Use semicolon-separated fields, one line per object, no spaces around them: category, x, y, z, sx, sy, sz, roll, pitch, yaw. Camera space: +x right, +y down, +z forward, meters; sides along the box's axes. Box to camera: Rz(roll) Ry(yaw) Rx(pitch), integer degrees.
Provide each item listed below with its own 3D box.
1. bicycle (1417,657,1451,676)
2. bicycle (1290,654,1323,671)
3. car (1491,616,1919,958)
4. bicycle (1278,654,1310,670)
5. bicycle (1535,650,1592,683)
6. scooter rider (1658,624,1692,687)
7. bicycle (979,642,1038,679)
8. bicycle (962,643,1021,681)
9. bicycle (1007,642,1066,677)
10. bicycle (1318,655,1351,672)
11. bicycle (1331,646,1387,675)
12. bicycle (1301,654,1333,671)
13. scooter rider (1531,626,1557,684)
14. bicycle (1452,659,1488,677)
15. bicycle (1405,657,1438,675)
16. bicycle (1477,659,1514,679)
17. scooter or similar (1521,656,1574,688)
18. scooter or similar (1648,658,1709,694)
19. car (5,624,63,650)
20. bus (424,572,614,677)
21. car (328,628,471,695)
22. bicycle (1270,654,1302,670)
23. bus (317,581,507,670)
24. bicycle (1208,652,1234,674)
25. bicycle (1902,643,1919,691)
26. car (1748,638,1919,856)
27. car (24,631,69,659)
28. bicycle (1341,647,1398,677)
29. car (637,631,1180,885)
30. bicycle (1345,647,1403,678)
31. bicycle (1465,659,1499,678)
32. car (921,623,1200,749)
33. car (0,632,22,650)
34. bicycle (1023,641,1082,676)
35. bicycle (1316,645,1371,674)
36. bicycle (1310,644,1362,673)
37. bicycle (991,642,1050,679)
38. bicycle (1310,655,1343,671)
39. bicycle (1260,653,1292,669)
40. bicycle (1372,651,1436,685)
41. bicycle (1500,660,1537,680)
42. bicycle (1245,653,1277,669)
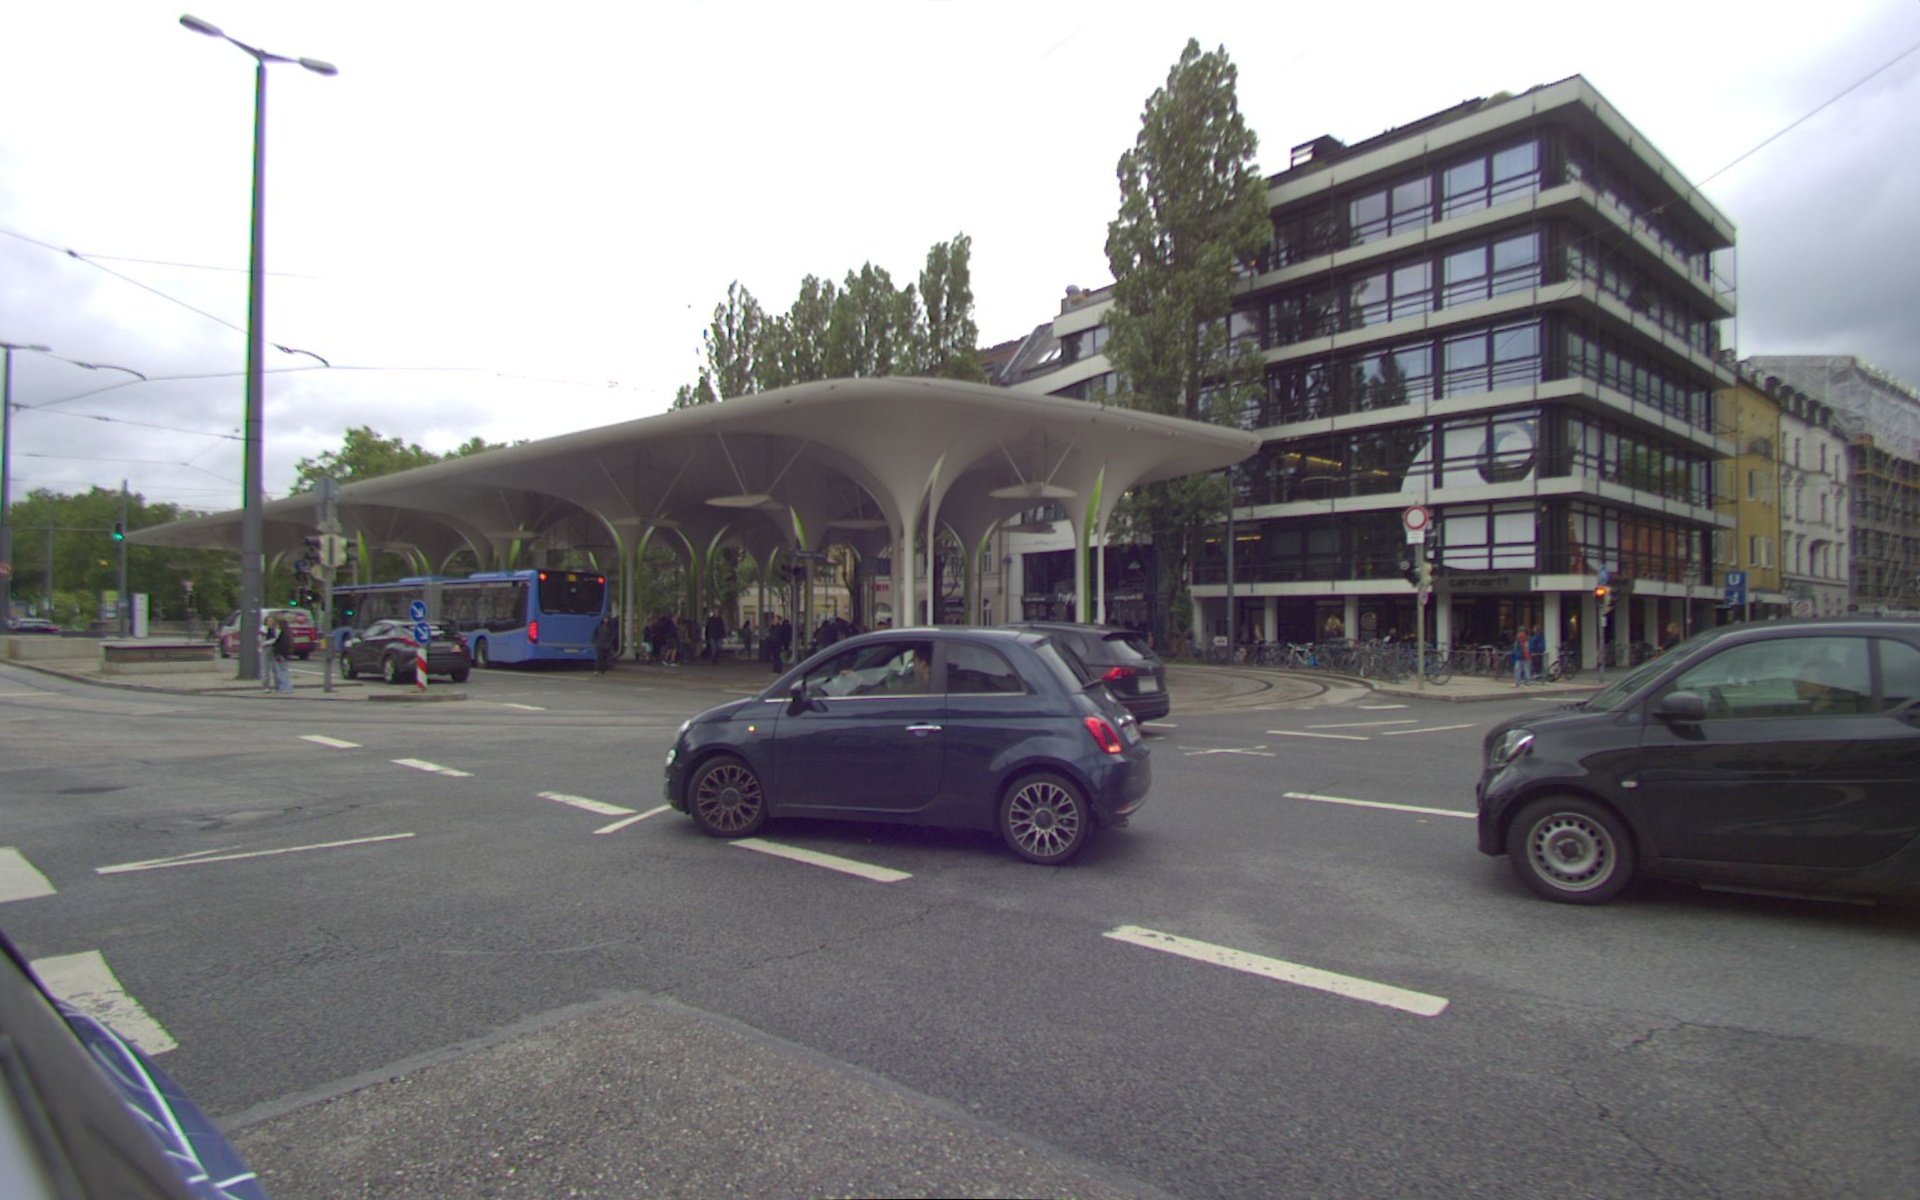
bicycle;17.586;2.466;37.556;1.607;0.637;0.364;1;-2;-34
bicycle;14.212;2.555;41.503;1.607;0.637;0.364;1;-2;-34
car;4.503;0.886;5.399;2.828;1.546;1.491;-2;-3;33
bicycle;13.861;2.564;41.961;1.607;0.637;0.364;1;-2;-34
bicycle;20.072;2.218;33.657;1.612;1.082;0.429;0;-2;0
scooter rider;21.263;1.648;30.115;0.610;1.849;0.668;2;-3;-41
bicycle;1.544;1.939;32.650;0.633;1.133;2.169;1;-2;-39
bicycle;0.982;1.955;32.271;0.633;1.133;2.169;1;-2;-39
bicycle;2.507;1.948;33.512;0.645;1.127;2.186;1;-2;-39
bicycle;15.060;2.533;40.652;1.607;0.637;0.364;1;-2;-34
bicycle;13.354;2.022;33.909;1.705;0.946;0.455;1;-1;-5
bicycle;14.569;2.546;41.262;1.607;0.637;0.364;1;-2;-34
scooter rider;18.905;1.757;32.744;0.609;1.853;0.548;-2;-3;40
bicycle;18.391;2.445;36.499;1.607;0.637;0.430;1;-2;-34
bicycle;17.279;2.474;37.874;1.607;0.637;0.364;1;-2;-34
bicycle;18.910;2.431;35.742;1.607;0.637;0.430;1;-2;-34
scooter or similar;18.952;2.304;32.657;1.403;0.989;0.409;-2;-2;40
scooter or similar;21.306;2.241;30.019;0.408;0.989;1.406;2;-3;-41
car;-51.377;2.029;56.154;4.031;1.427;1.824;-1;-2;40
bus;-14.456;0.852;32.883;7.509;3.031;2.632;-2;-4;41
car;-13.908;1.477;25.025;4.278;1.520;1.647;-1;-3;40
bicycle;13.624;2.571;42.261;1.607;0.637;0.364;1;-2;-34
bus;-21.238;1.046;38.792;10.506;3.031;2.633;-1;-4;40
bicycle;11.820;2.847;45.756;0.449;0.933;1.804;-2;-2;39
bicycle;23.199;1.595;23.512;1.893;1.119;0.578;1;-1;42
car;7.845;0.982;6.637;4.163;1.422;1.974;-2;-4;39
car;-62.429;3.028;69.151;3.868;1.854;1.885;-2;-2;43
bicycle;13.434;2.020;33.206;1.704;0.946;0.456;1;-1;-7
car;-0.306;0.966;7.132;3.510;1.457;1.541;-1;-3;18
bicycle;13.369;2.022;32.664;1.704;0.946;0.456;1;-1;-7
bicycle;18.646;2.438;36.134;1.607;0.637;0.364;1;-2;-34
car;1.454;1.207;15.527;3.998;1.674;1.764;-2;-2;42
car;-76.613;3.232;80.989;4.609;1.389;1.656;-1;-3;40
bicycle;3.074;1.933;33.928;0.645;1.127;2.186;1;-2;-39
bicycle;13.043;2.030;34.389;1.705;0.946;0.455;1;-1;-5
bicycle;13.042;2.030;35.106;1.702;0.946;0.456;1;-1;-14
bicycle;1.965;1.962;33.109;0.645;1.127;2.186;1;-2;-39
bicycle;14.845;2.538;40.957;1.607;0.637;0.364;1;-2;-34
bicycle;13.315;2.579;42.647;1.607;0.637;0.364;1;-2;-34
bicycle;13.035;1.991;29.751;1.719;0.946;0.451;0;-2;22
bicycle;19.400;2.418;35.143;1.607;0.637;0.430;1;-2;-34
bicycle;12.856;2.591;43.262;1.607;0.637;0.364;1;-2;-34
